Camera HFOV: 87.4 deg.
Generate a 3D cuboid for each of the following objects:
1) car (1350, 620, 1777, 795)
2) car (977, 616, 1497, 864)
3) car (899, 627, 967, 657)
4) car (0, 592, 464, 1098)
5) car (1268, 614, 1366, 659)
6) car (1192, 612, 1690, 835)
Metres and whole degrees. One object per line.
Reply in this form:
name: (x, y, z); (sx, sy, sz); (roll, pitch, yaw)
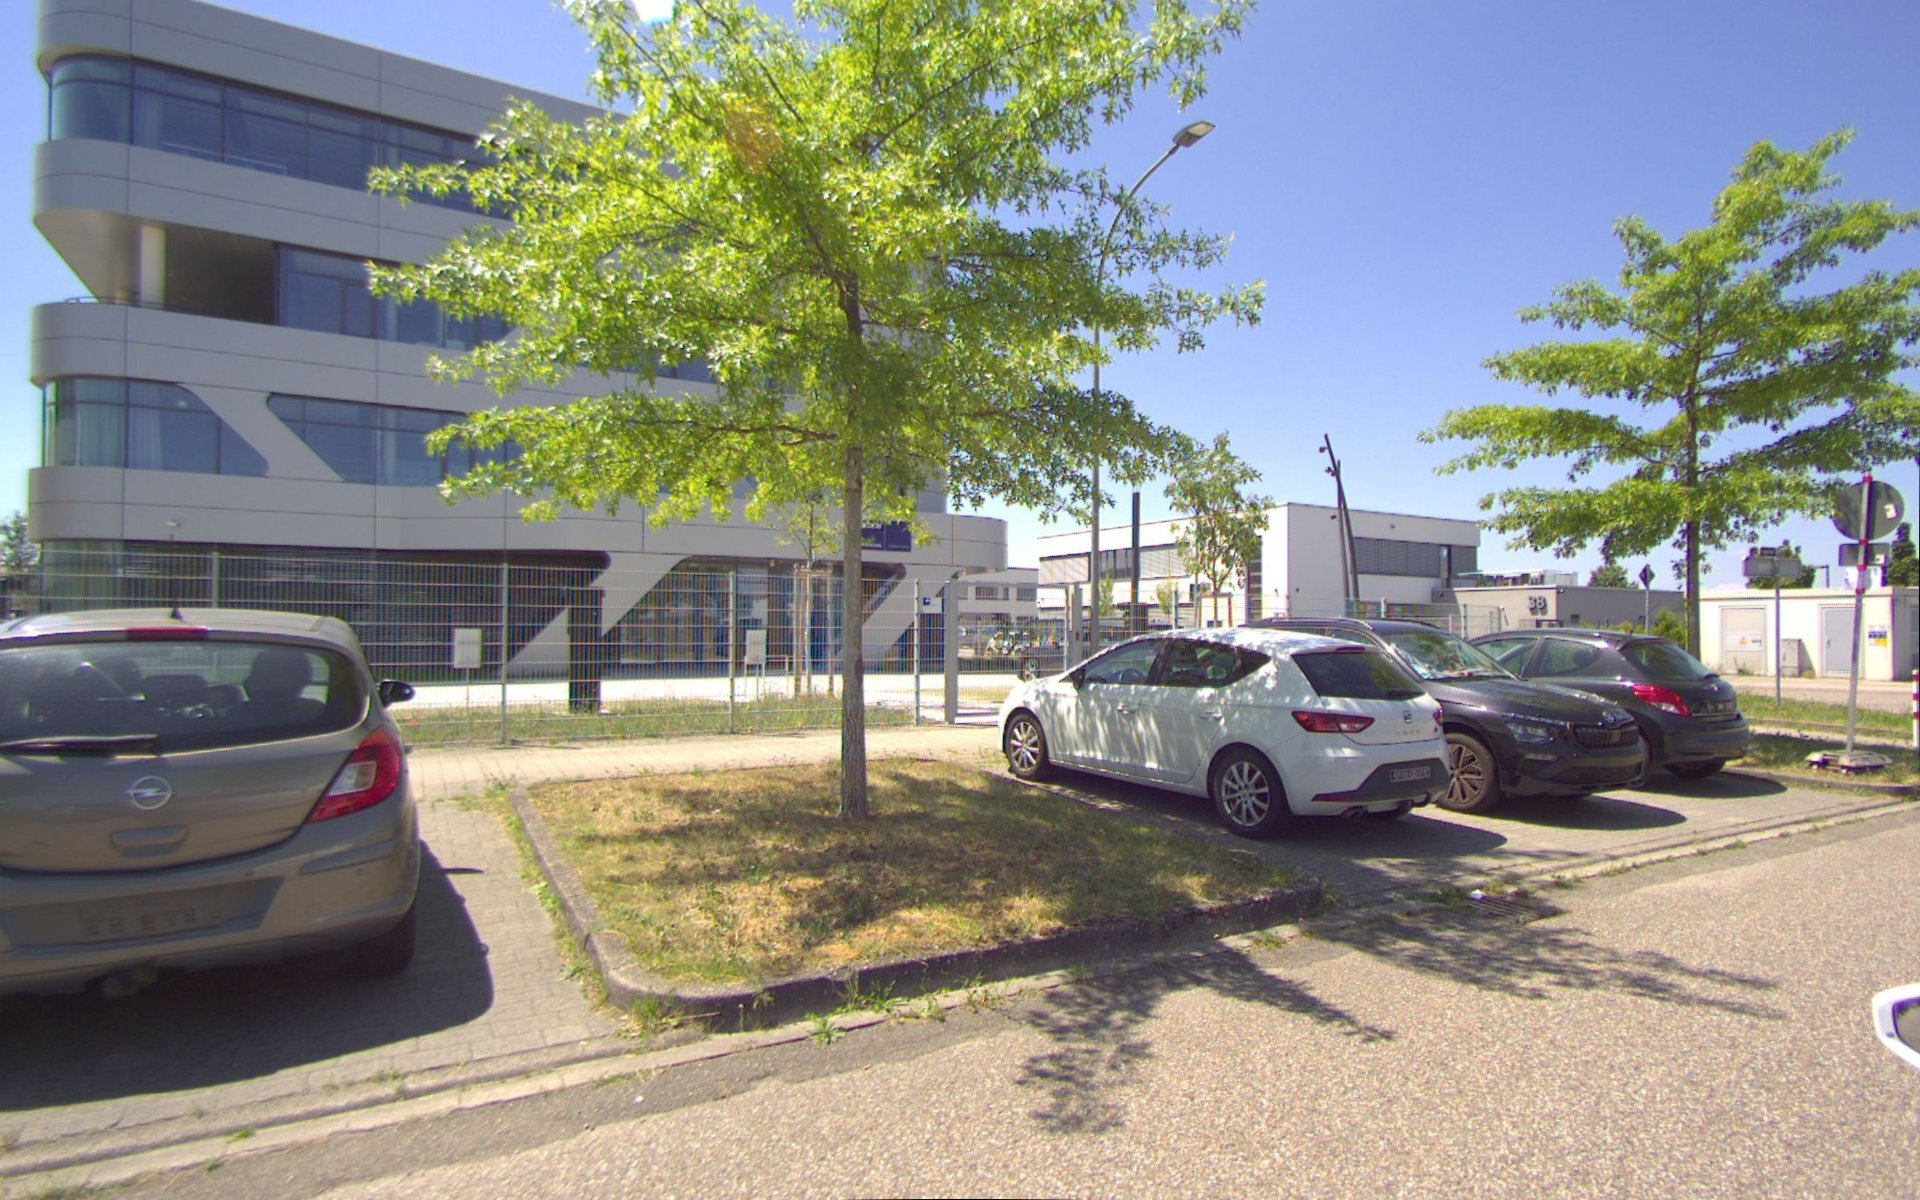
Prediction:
car: (6.361, 1.006, 10.960); (1.707, 1.455, 3.605); (1, 0, -32)
car: (2.042, 0.927, 8.533); (1.854, 1.443, 4.051); (1, 0, -33)
car: (-1.558, 2.358, 56.342); (1.979, 1.560, 3.964); (4, -4, -33)
car: (-3.569, 0.749, 4.819); (1.713, 1.528, 3.635); (1, 0, -33)
car: (16.736, 1.704, 47.202); (1.979, 2.040, 3.964); (1, -2, -33)
car: (4.258, 0.946, 9.498); (1.765, 1.541, 3.905); (1, 0, -32)
